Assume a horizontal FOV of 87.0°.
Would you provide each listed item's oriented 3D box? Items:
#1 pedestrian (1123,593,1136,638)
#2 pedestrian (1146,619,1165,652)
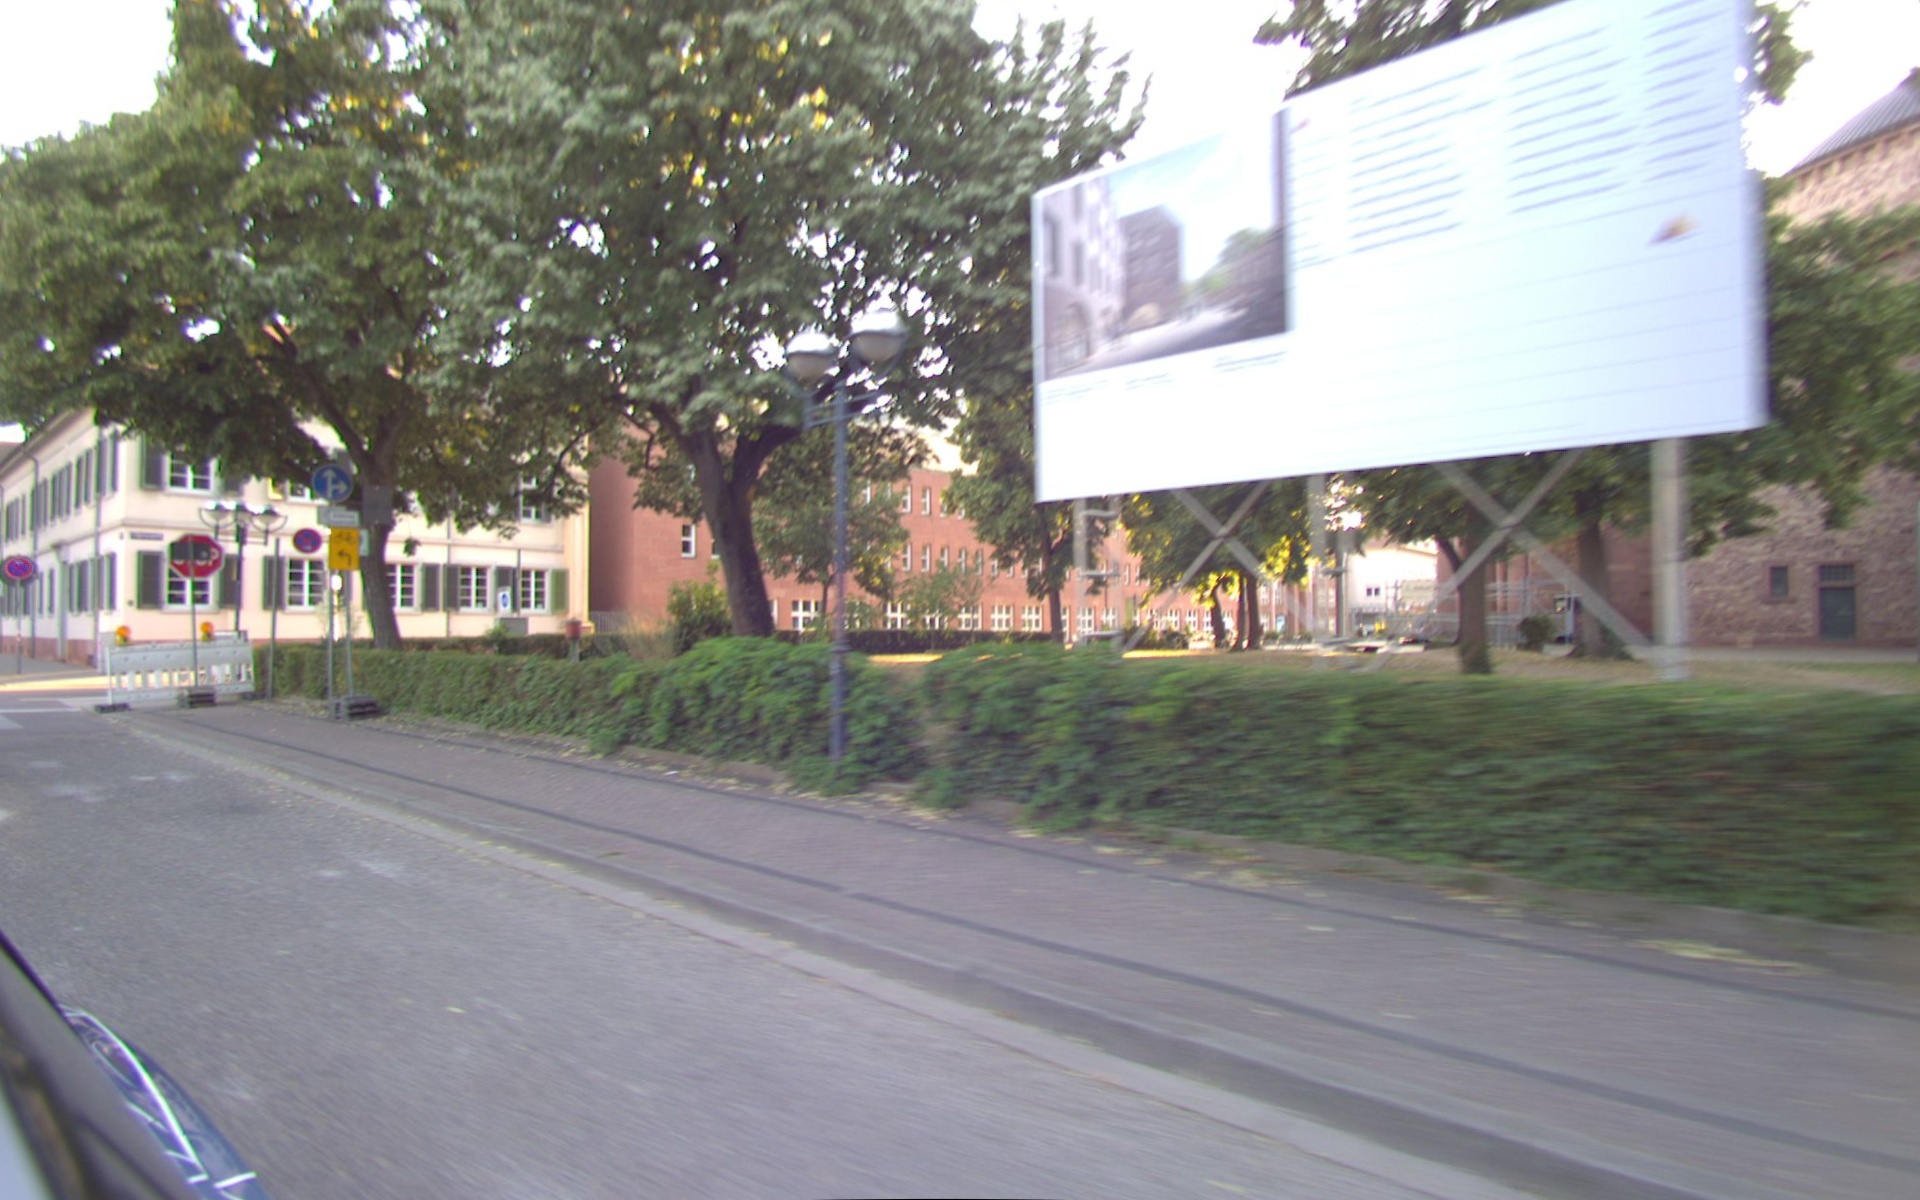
[{"bbox_3d":[7.670,0.698,45.710,0.459,2.029,0.404,-2,-2,29],"label":"pedestrian"},{"bbox_3d":[9.963,1.801,51.527,0.654,1.706,0.742,-2,-2,43],"label":"pedestrian"}]
